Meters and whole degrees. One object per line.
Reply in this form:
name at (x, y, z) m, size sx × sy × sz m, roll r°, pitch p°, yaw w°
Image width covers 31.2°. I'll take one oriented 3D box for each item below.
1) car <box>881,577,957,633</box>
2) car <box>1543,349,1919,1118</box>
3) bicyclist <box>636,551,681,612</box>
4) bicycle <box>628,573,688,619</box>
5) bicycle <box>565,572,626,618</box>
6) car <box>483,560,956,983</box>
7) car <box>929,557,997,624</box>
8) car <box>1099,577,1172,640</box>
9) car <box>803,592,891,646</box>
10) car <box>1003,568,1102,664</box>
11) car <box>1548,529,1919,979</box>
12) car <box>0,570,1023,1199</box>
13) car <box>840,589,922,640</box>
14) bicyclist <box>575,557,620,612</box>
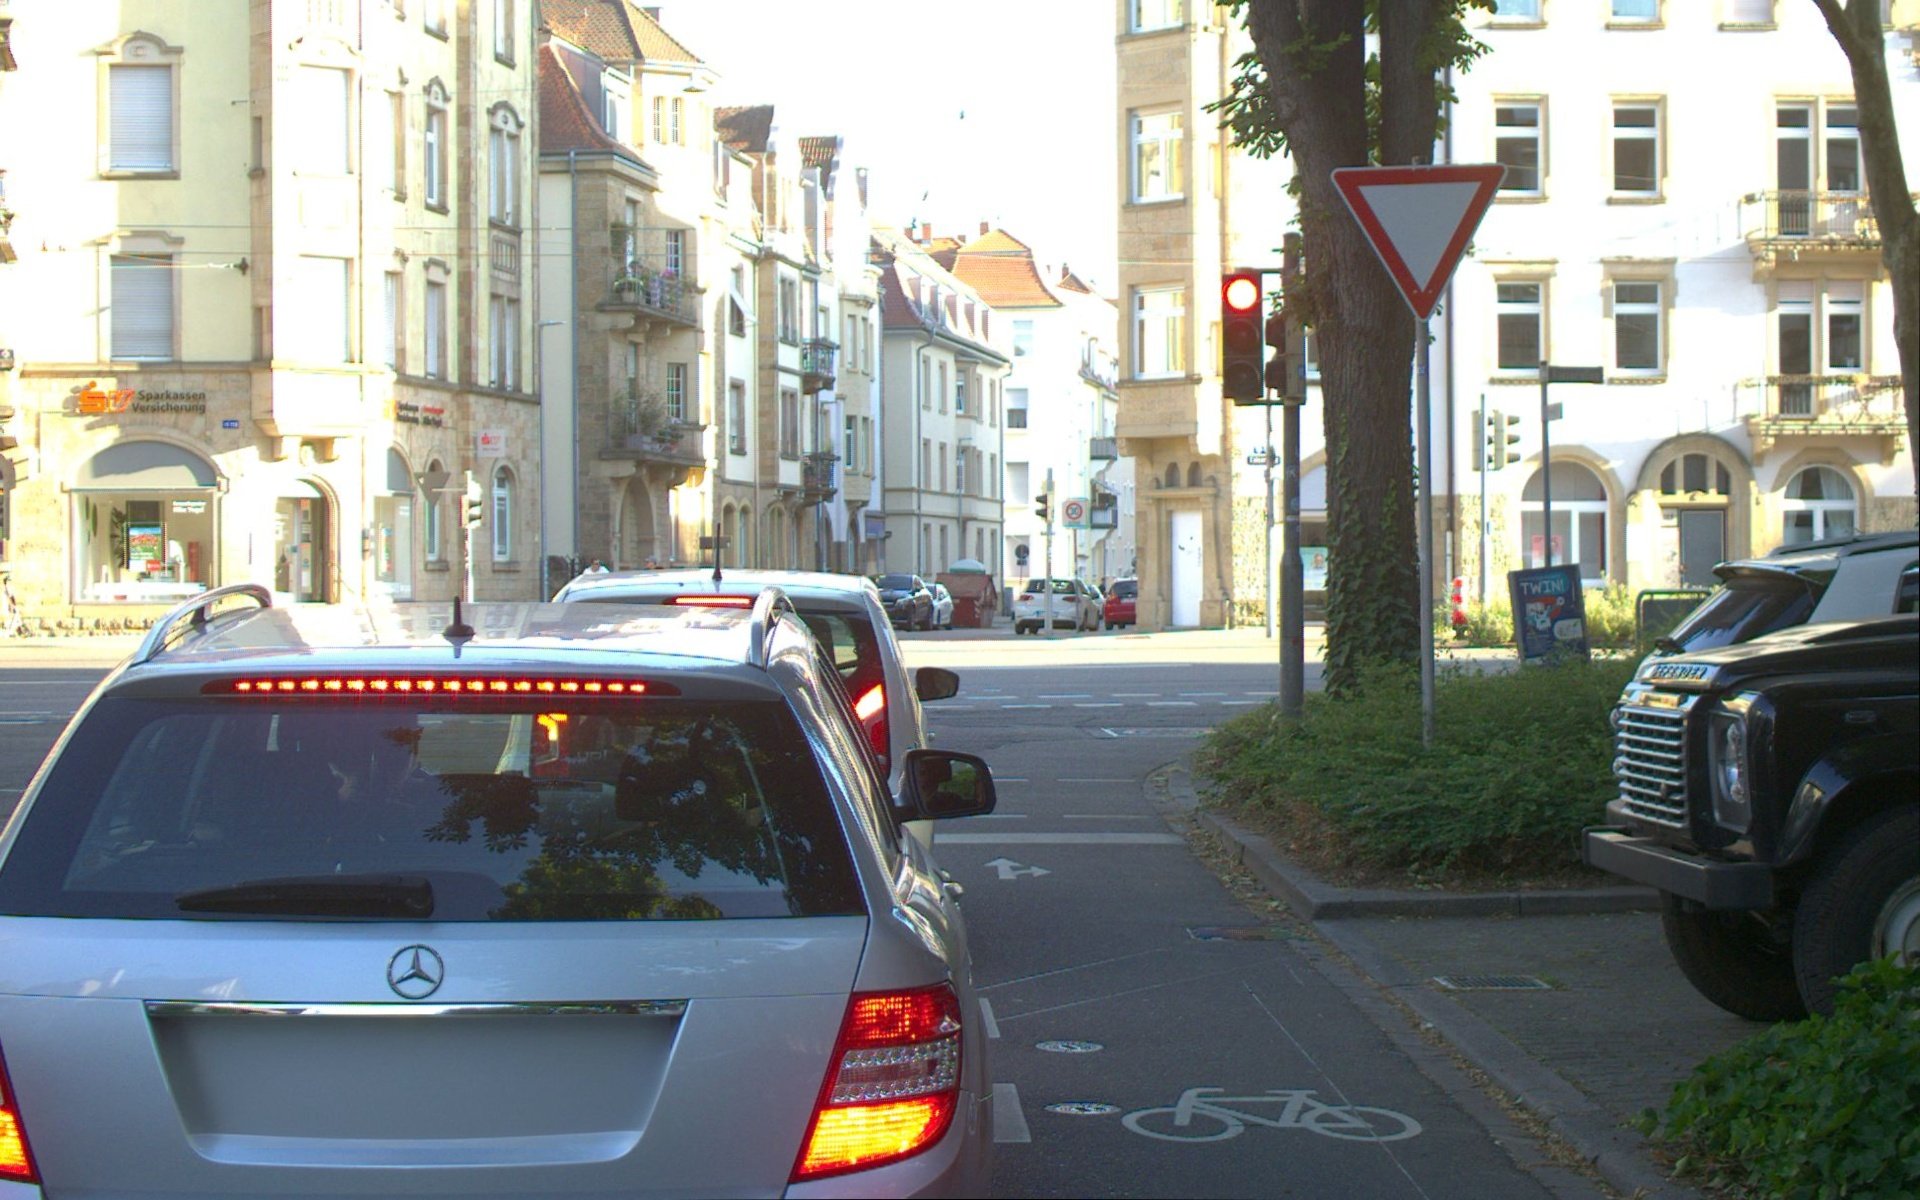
car at (-1.280, 0.129, 108.746) m, size 1.835 × 1.657 × 3.999 m, roll 0°, pitch 1°, yaw 8°
car at (4.137, 0.300, 10.106) m, size 4.465 × 2.029 × 1.701 m, roll -1°, pitch 0°, yaw -3°
bicyclist at (-6.444, -0.390, 73.454) m, size 0.771 × 1.285 × 0.752 m, roll 1°, pitch 1°, yaw 11°
bicycle at (-6.445, -0.097, 73.458) m, size 0.771 × 0.931 × 1.939 m, roll 1°, pitch 1°, yaw 11°
bicycle at (-7.769, -0.106, 73.370) m, size 0.771 × 0.936 × 1.939 m, roll 1°, pitch 1°, yaw 11°
car at (-0.912, 0.569, 14.035) m, size 1.619 × 1.442 × 4.345 m, roll 0°, pitch 1°, yaw -2°
car at (0.129, -0.341, 117.334) m, size 1.787 × 2.196 × 3.999 m, roll 0°, pitch 1°, yaw 8°
car at (5.217, 0.228, 101.916) m, size 1.835 × 1.738 × 3.999 m, roll 0°, pitch 1°, yaw 8°
car at (-3.159, 0.532, 97.025) m, size 1.835 × 1.397 × 3.999 m, roll 0°, pitch 1°, yaw 8°
car at (2.341, 0.361, 85.884) m, size 2.031 × 2.272 × 3.999 m, roll 0°, pitch 1°, yaw 8°
car at (4.292, 0.500, 13.076) m, size 3.723 × 1.564 × 1.709 m, roll -1°, pitch 0°, yaw -4°
car at (-0.895, 0.679, 6.945) m, size 1.777 × 1.447 × 4.548 m, roll 0°, pitch 1°, yaw -2°
car at (-2.325, 0.405, 102.516) m, size 1.835 × 1.397 × 3.999 m, roll 0°, pitch 1°, yaw 8°
bicyclist at (-7.751, -0.328, 73.445) m, size 0.771 × 1.152 × 0.752 m, roll 1°, pitch 1°, yaw 11°
